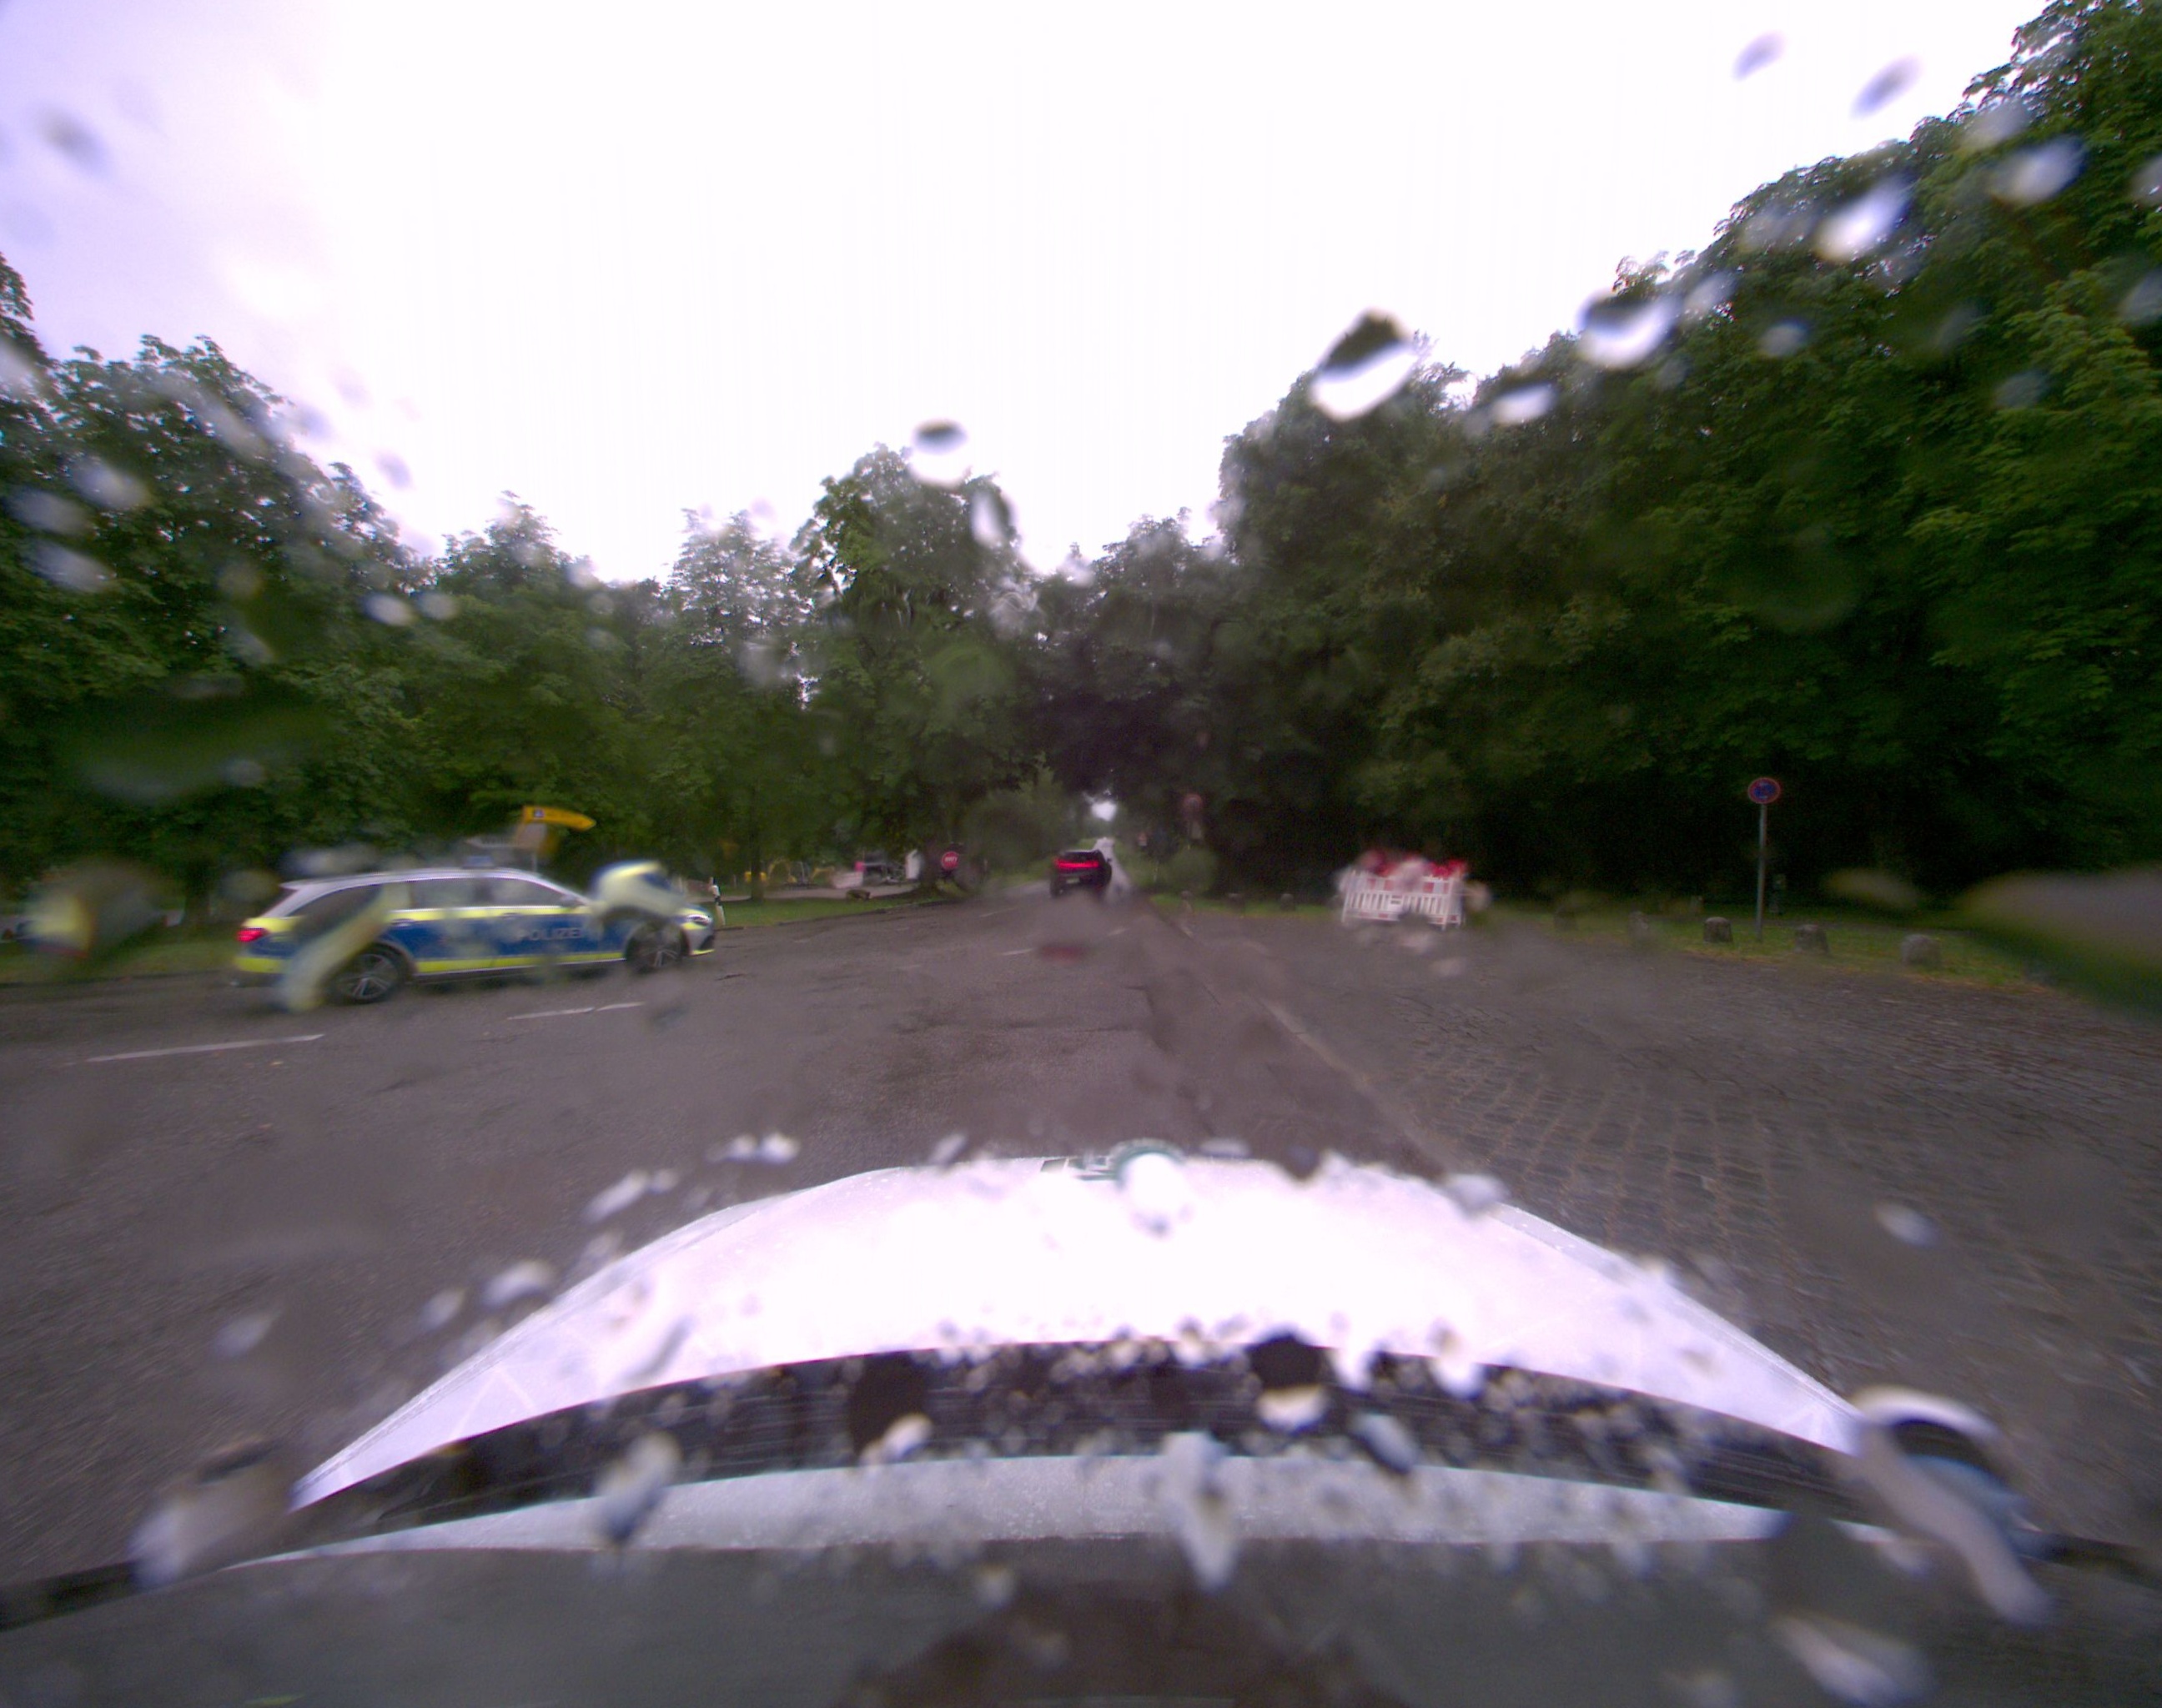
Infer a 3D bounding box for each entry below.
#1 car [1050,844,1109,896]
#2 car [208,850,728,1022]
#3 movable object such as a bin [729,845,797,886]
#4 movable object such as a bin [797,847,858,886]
[{"bbox_3d":[0.012,0.537,30.474,1.717,1.708,4.582,-2,1,5],"label":"car"},{"bbox_3d":[-7.356,0.835,10.446,4.923,1.600,1.713,-3,1,-34],"label":"car"},{"bbox_3d":[-27.292,0.981,70.154,4.654,3.294,3.901,-1,0,-9],"label":"movable object such as a bin"},{"bbox_3d":[-22.238,1.093,71.675,4.581,3.294,3.654,-1,0,-9],"label":"movable object such as a bin"}]
